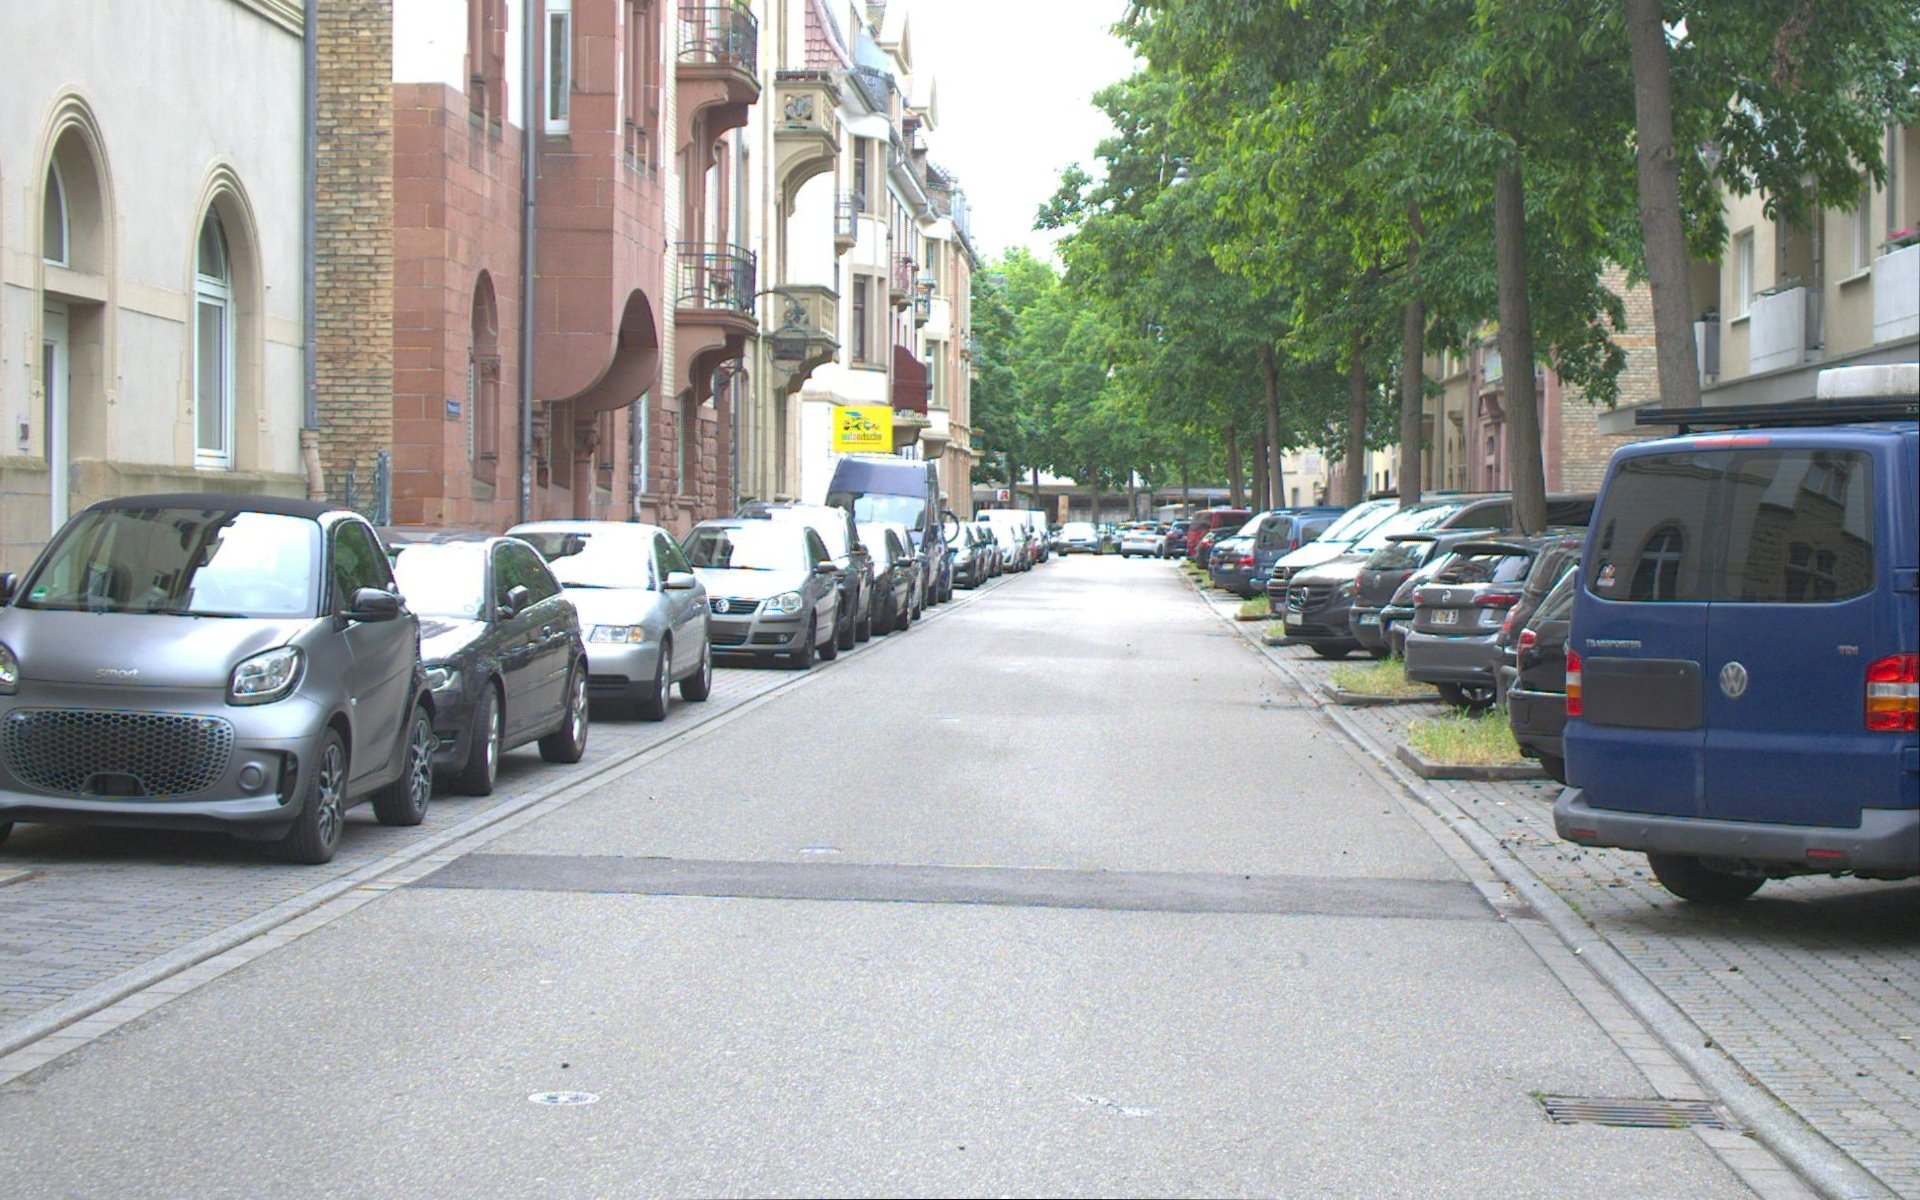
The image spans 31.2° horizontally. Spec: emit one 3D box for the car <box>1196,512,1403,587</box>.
[{"bbox_3d":[7.276,-1.085,73.630,4.010,1.554,1.885,0,2,-28],"label":"car"}]

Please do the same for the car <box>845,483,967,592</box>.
[{"bbox_3d":[-0.995,-1.211,65.827,1.994,2.007,4.891,0,1,3],"label":"car"}]

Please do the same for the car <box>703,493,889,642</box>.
[{"bbox_3d":[-1.923,-0.440,41.503,1.786,1.641,4.361,2,2,3],"label":"car"}]

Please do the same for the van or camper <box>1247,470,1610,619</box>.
[{"bbox_3d":[6.718,-0.792,49.317,4.728,1.987,2.000,-2,0,-22],"label":"van or camper"}]

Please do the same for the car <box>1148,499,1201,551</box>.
[{"bbox_3d":[8.967,-3.152,144.074,1.994,2.006,4.000,3,2,2],"label":"car"}]

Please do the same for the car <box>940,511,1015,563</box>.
[{"bbox_3d":[0.538,-1.860,100.441,1.994,1.470,4.000,0,1,3],"label":"car"}]

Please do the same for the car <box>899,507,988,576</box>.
[{"bbox_3d":[-0.347,-1.334,77.527,1.789,1.475,4.022,1,1,2],"label":"car"}]

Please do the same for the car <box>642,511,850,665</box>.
[{"bbox_3d":[-2.129,-0.168,35.124,1.662,1.416,3.929,2,2,3],"label":"car"}]

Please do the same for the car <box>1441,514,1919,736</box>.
[{"bbox_3d":[5.523,0.148,25.505,3.358,1.491,1.852,-2,1,-19],"label":"car"}]

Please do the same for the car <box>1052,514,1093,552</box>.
[{"bbox_3d":[5.191,-3.078,158.906,1.821,1.639,3.753,2,1,2],"label":"car"}]

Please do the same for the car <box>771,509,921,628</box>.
[{"bbox_3d":[-1.498,-0.457,46.321,1.635,1.468,4.000,2,2,3],"label":"car"}]

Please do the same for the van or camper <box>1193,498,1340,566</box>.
[{"bbox_3d":[9.541,-2.115,107.004,4.146,2.078,1.953,0,2,-25],"label":"van or camper"}]

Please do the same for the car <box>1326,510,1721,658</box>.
[{"bbox_3d":[6.152,-0.203,37.541,3.848,1.497,1.913,-1,1,-26],"label":"car"}]

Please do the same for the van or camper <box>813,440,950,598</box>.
[{"bbox_3d":[-1.336,-1.433,60.449,2.008,2.642,5.316,0,1,3],"label":"van or camper"}]

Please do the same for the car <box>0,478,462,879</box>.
[{"bbox_3d":[-3.356,0.269,15.554,1.646,1.565,2.957,2,3,2],"label":"car"}]

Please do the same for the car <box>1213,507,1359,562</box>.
[{"bbox_3d":[8.826,-1.773,93.253,3.760,1.460,1.729,0,1,-2],"label":"car"}]

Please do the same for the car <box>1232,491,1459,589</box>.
[{"bbox_3d":[7.936,-1.235,70.755,4.171,1.863,2.000,-2,1,-26],"label":"car"}]

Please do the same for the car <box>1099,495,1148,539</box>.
[{"bbox_3d":[7.095,-3.622,149.722,1.993,1.788,4.000,2,1,2],"label":"car"}]

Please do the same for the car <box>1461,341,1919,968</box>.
[{"bbox_3d":[4.517,0.058,14.210,4.692,2.188,2.067,-4,3,-36],"label":"car"}]

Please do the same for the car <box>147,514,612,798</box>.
[{"bbox_3d":[-3.145,0.267,19.400,1.726,1.382,3.928,2,1,3],"label":"car"}]

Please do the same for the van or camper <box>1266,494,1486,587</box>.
[{"bbox_3d":[9.747,-1.401,80.512,4.774,2.130,2.056,-1,2,-28],"label":"van or camper"}]

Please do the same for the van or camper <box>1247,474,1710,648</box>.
[{"bbox_3d":[6.110,-0.487,40.463,5.005,1.863,2.128,-2,1,-24],"label":"van or camper"}]

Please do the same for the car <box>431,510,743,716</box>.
[{"bbox_3d":[-2.771,0.036,26.361,1.726,1.382,4.137,2,2,3],"label":"car"}]

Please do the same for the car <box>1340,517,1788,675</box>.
[{"bbox_3d":[6.099,-0.072,34.764,4.038,1.478,1.948,-1,1,-23],"label":"car"}]

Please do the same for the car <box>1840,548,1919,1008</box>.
[{"bbox_3d":[4.918,0.568,11.541,3.655,1.475,1.689,-1,2,-30],"label":"car"}]

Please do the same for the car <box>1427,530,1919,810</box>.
[{"bbox_3d":[4.843,0.326,19.985,4.101,1.437,1.853,-1,2,-37],"label":"car"}]

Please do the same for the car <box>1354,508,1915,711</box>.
[{"bbox_3d":[5.641,0.044,28.759,4.212,1.495,1.976,-2,1,-24],"label":"car"}]
